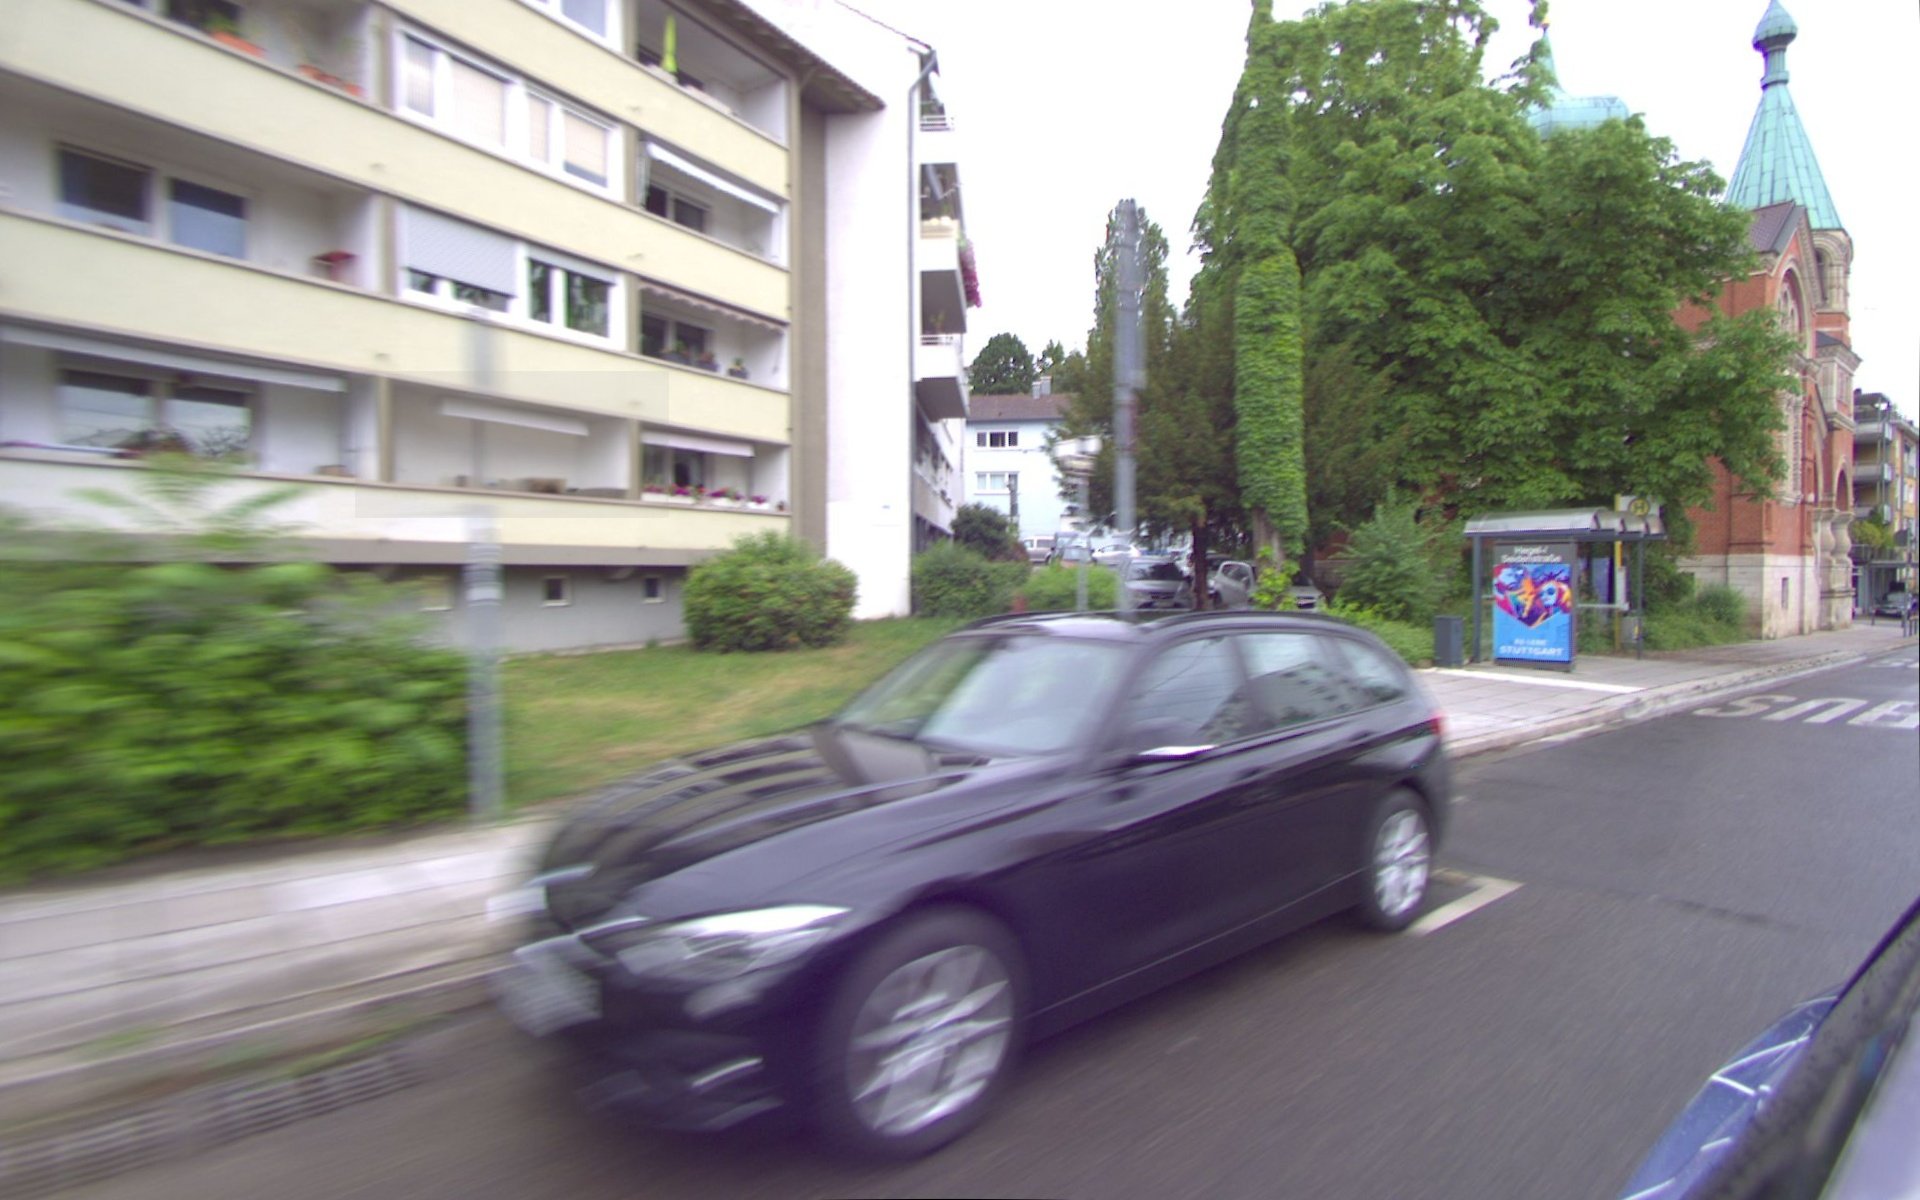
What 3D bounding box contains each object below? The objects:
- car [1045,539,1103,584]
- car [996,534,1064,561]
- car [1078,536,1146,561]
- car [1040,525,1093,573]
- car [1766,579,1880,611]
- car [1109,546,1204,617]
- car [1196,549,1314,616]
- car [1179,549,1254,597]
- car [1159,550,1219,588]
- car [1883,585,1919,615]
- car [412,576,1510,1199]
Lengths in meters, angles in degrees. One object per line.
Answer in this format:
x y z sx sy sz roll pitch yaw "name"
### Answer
4.596 -1.529 41.459 1.807 1.716 4.203 -1 1 -1 "car"
4.240 -3.123 60.739 3.934 1.550 1.824 1 0 9 "car"
9.031 -3.071 60.243 3.934 1.424 1.824 1 0 10 "car"
4.821 -2.274 46.101 1.962 2.002 4.000 -2 1 1 "car"
47.452 -0.269 55.711 4.370 1.475 2.000 3 0 4 "car"
5.094 -0.487 26.771 1.808 1.716 4.200 -1 1 2 "car"
7.625 -0.468 26.607 1.807 1.578 4.385 -1 1 0 "car"
9.256 -0.964 36.774 1.808 1.583 3.994 -1 1 2 "car"
9.411 -1.266 41.842 1.711 1.463 3.834 -1 1 2 "car"
56.345 -0.009 59.973 4.371 1.521 1.858 -3 5 -40 "car"
0.455 0.689 4.258 4.565 1.506 1.860 -1 0 -42 "car"
